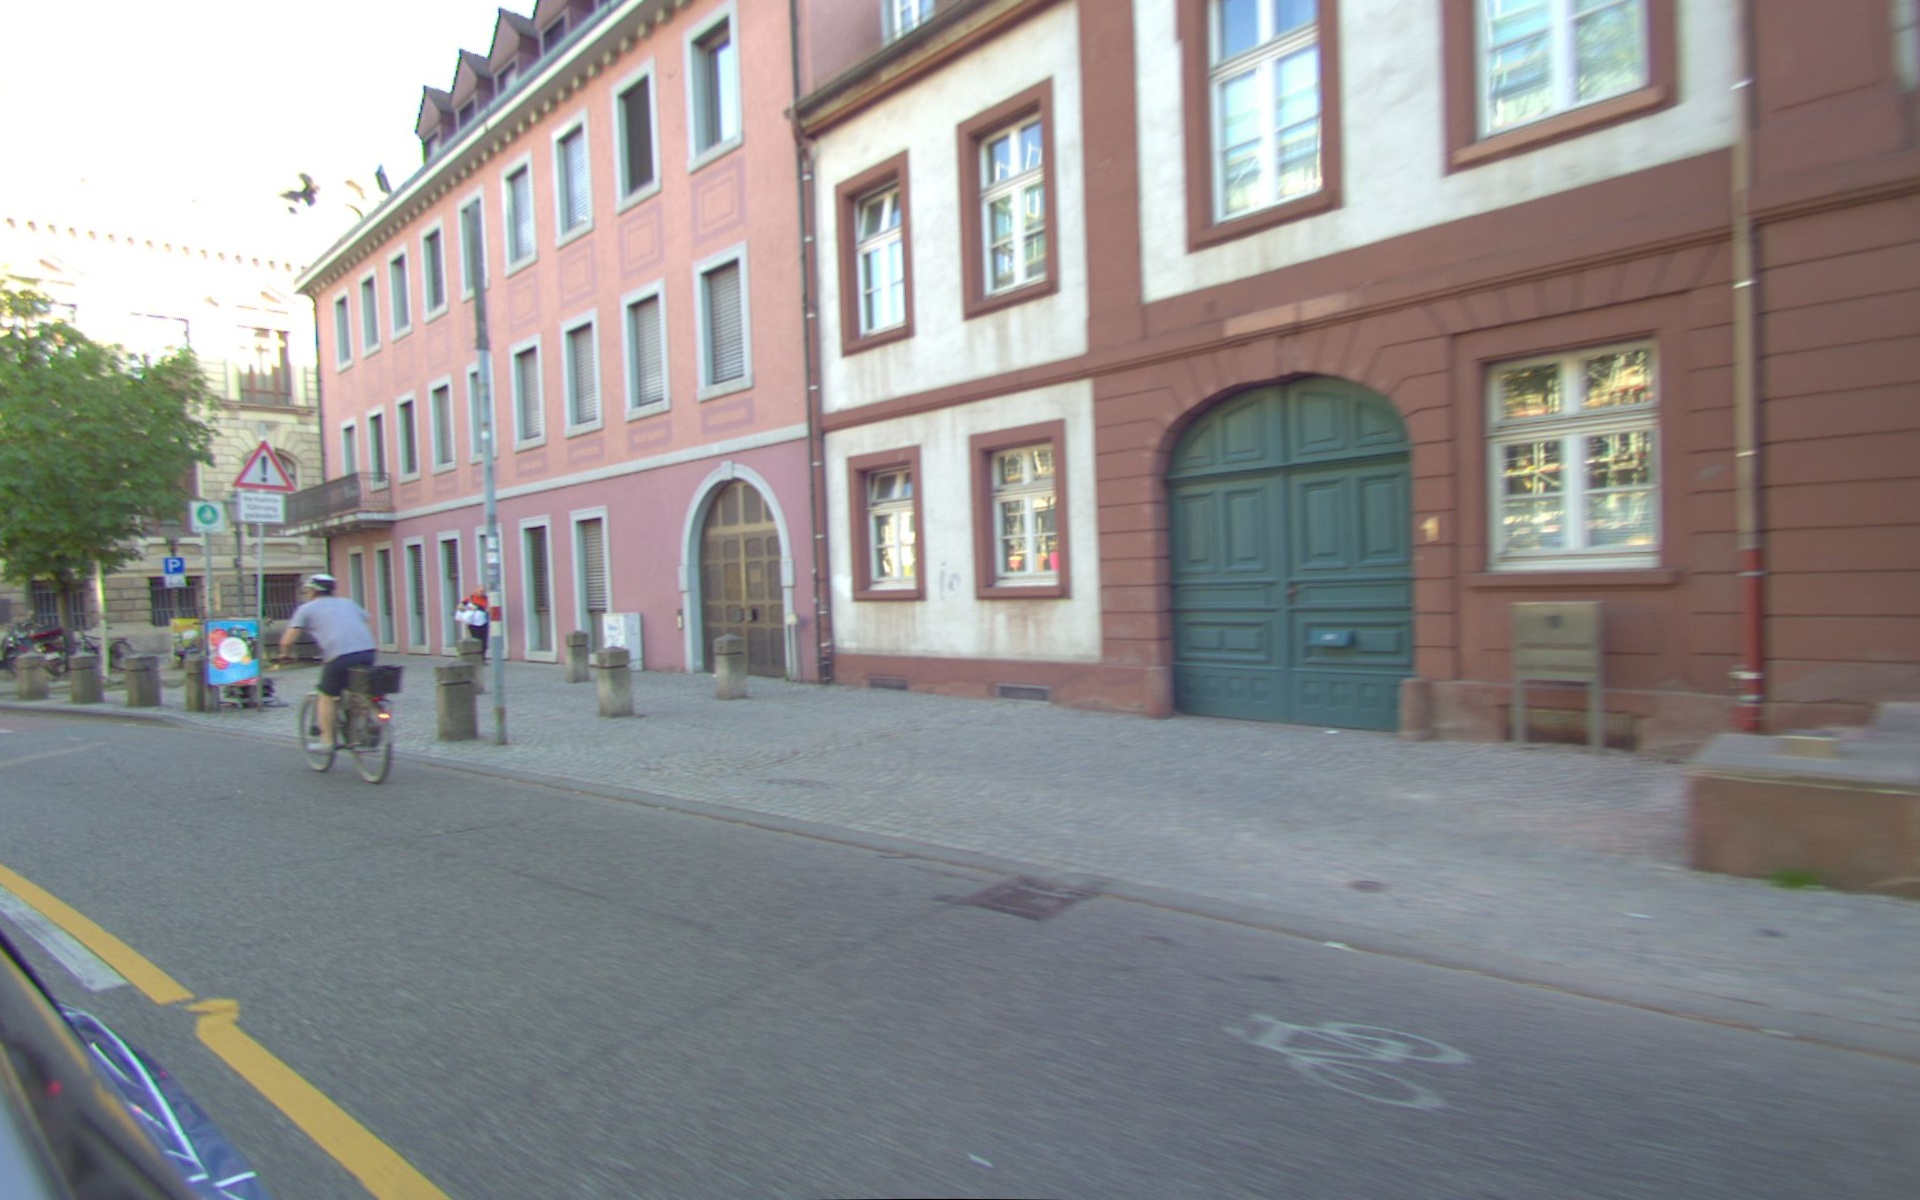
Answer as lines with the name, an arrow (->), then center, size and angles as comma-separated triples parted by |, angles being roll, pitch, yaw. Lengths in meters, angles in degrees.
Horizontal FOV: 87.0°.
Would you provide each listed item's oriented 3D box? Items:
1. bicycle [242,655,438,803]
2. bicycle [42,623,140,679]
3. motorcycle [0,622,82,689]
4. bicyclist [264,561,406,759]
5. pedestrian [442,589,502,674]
bicycle -> -5.455, 1.060, 8.847 | 2.075, 1.070, 0.764 | -2, 1, 38
bicycle -> -20.513, 1.172, 23.950 | 0.673, 1.215, 2.006 | -1, 0, -3
motorcycle -> -19.756, 1.189, 21.606 | 2.328, 1.327, 0.806 | -2, 0, 31
bicyclist -> -5.414, 0.488, 8.769 | 0.794, 1.595, 0.737 | -2, 2, 38
pedestrian -> -10.244, 0.643, 21.252 | 0.869, 1.701, 0.782 | -1, 3, 44
